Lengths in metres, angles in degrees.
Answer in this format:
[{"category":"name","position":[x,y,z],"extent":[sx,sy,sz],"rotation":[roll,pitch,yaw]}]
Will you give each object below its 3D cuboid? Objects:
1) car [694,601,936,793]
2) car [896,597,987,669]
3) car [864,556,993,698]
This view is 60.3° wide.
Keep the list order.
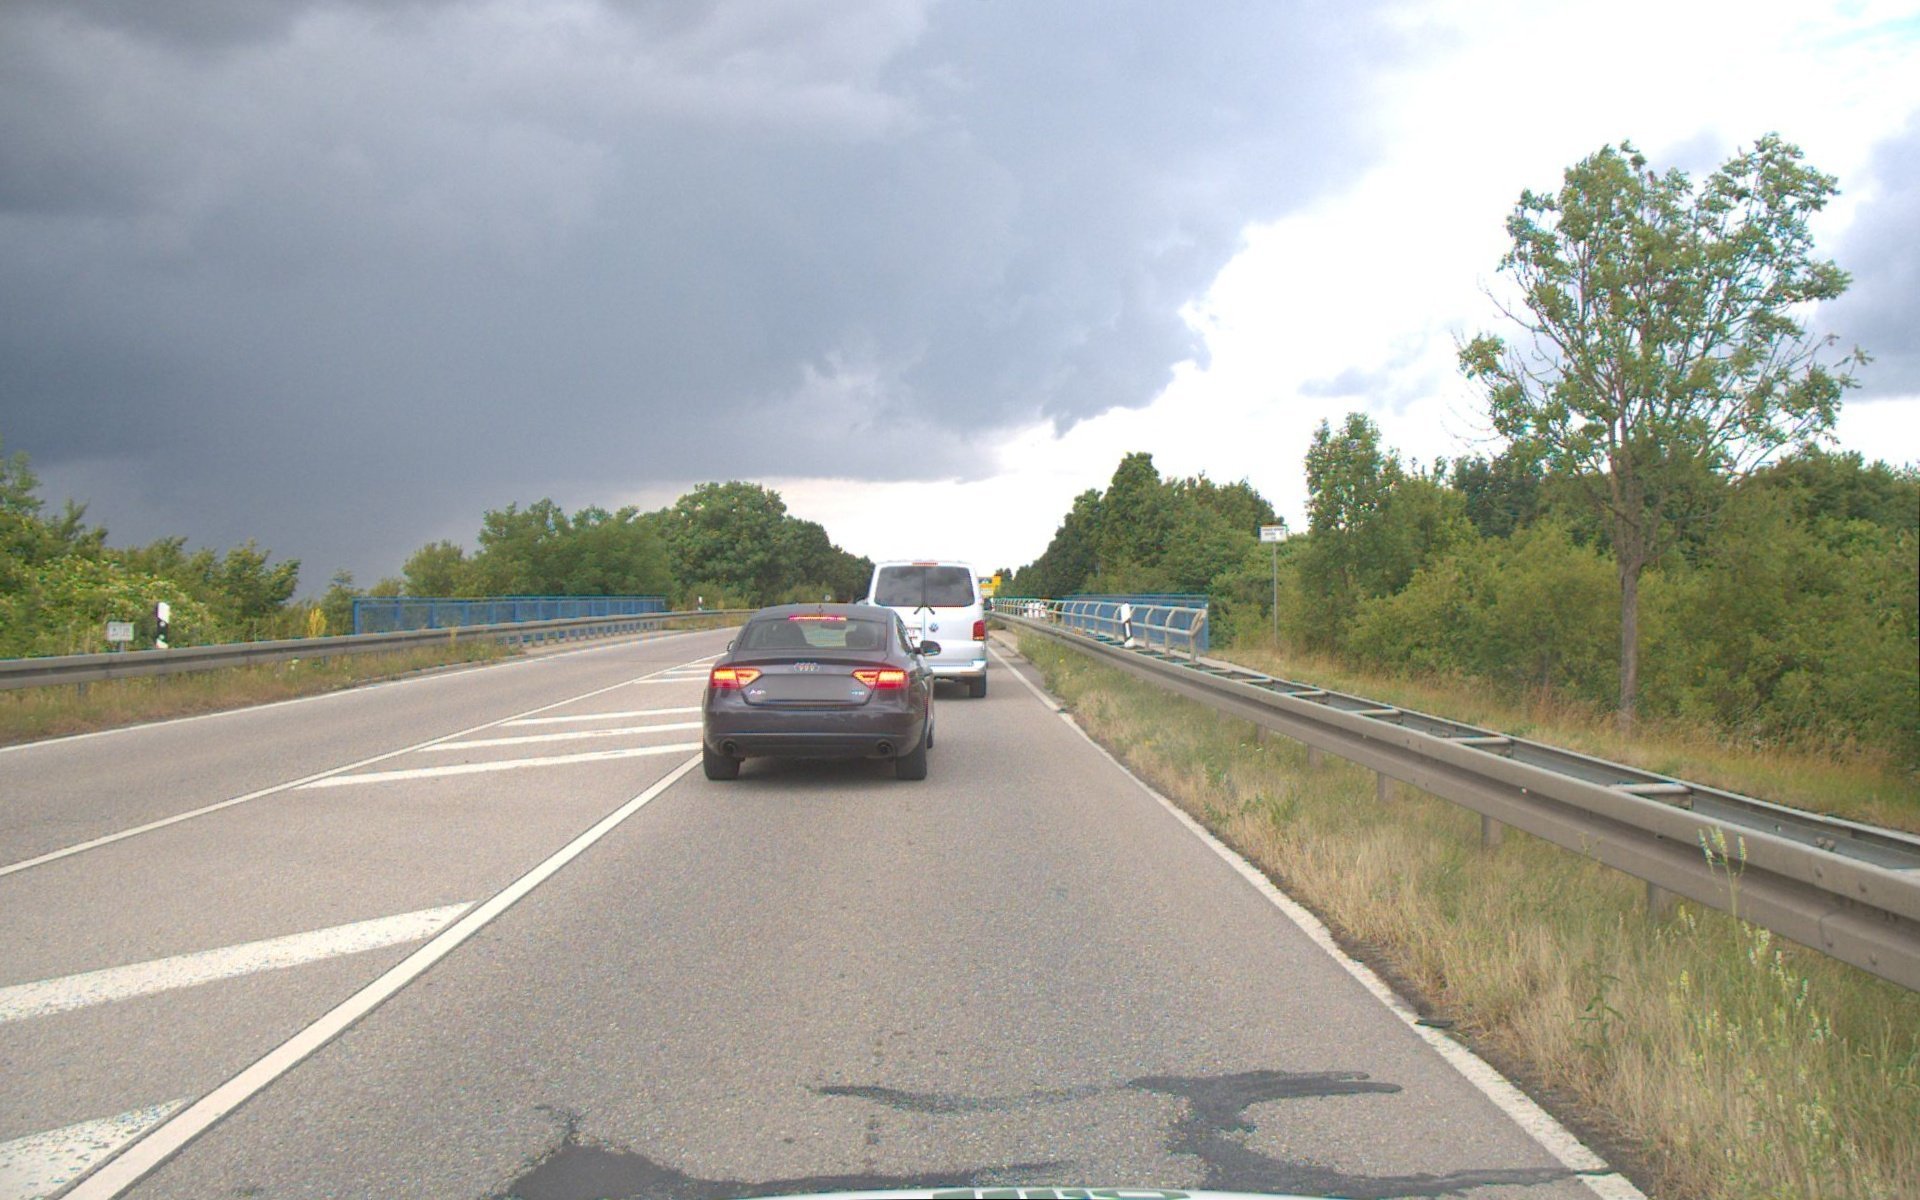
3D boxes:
[{"category":"car","position":[-1.112,0.724,14.331],"extent":[1.784,1.405,4.071],"rotation":[-1,0,-1]},{"category":"car","position":[-0.355,0.650,34.509],"extent":[1.784,1.405,4.071],"rotation":[0,0,0]},{"category":"car","position":[-0.480,0.379,25.274],"extent":[1.791,1.969,3.999],"rotation":[-1,0,-1]}]
